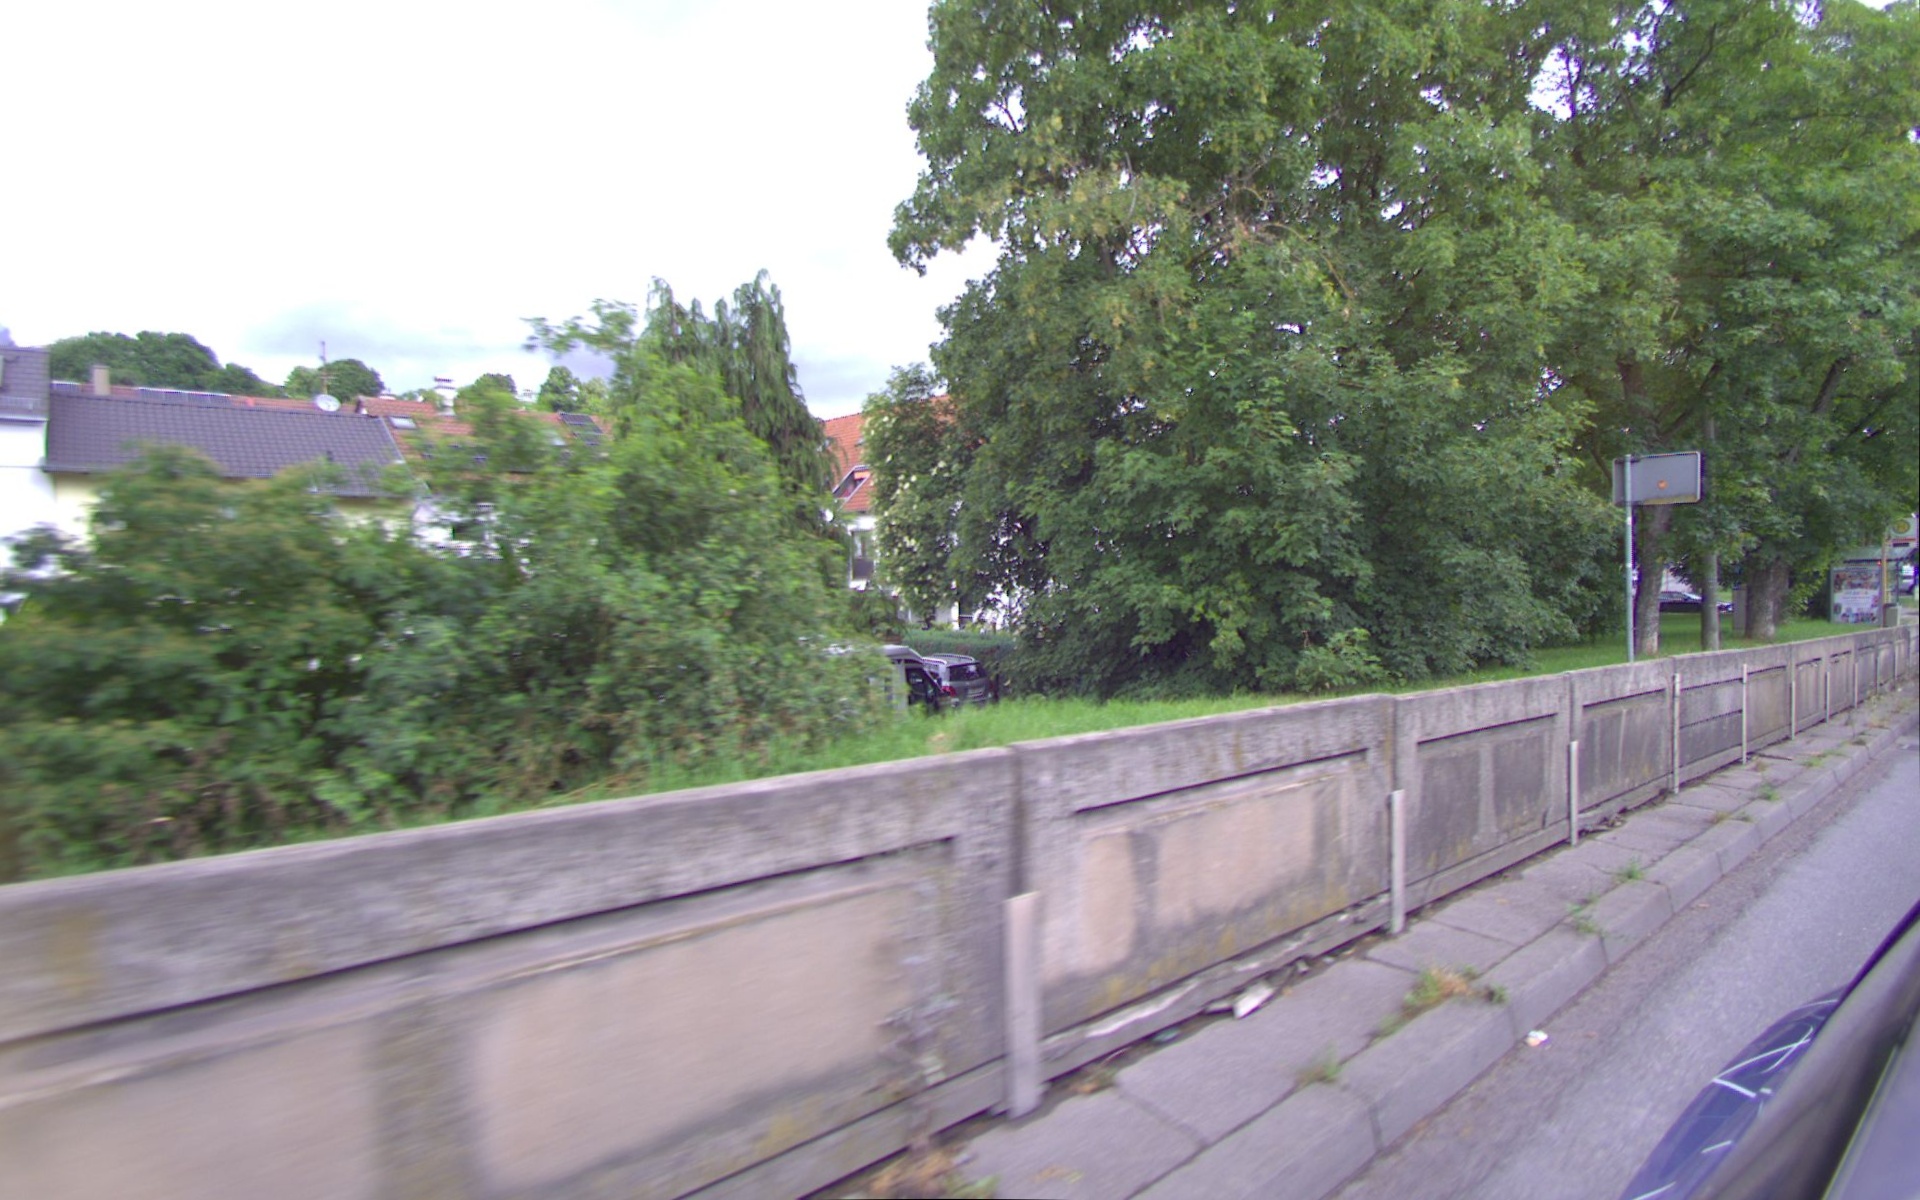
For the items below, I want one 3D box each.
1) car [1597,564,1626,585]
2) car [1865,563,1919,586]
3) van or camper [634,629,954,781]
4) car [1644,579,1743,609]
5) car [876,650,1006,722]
[{"bbox_3d":[65.396,-2.573,101.515,1.938,1.865,4.193,-3,0,39],"label":"car"},{"bbox_3d":[71.506,-1.956,76.610,4.182,1.718,1.819,1,2,33],"label":"car"},{"bbox_3d":[-2.830,1.730,18.672,2.174,2.039,5.758,-3,0,40],"label":"van or camper"},{"bbox_3d":[40.885,-0.348,56.526,1.671,1.544,4.169,-3,2,-32],"label":"car"},{"bbox_3d":[-0.560,2.235,27.158,1.713,1.638,3.549,-3,0,-36],"label":"car"}]
